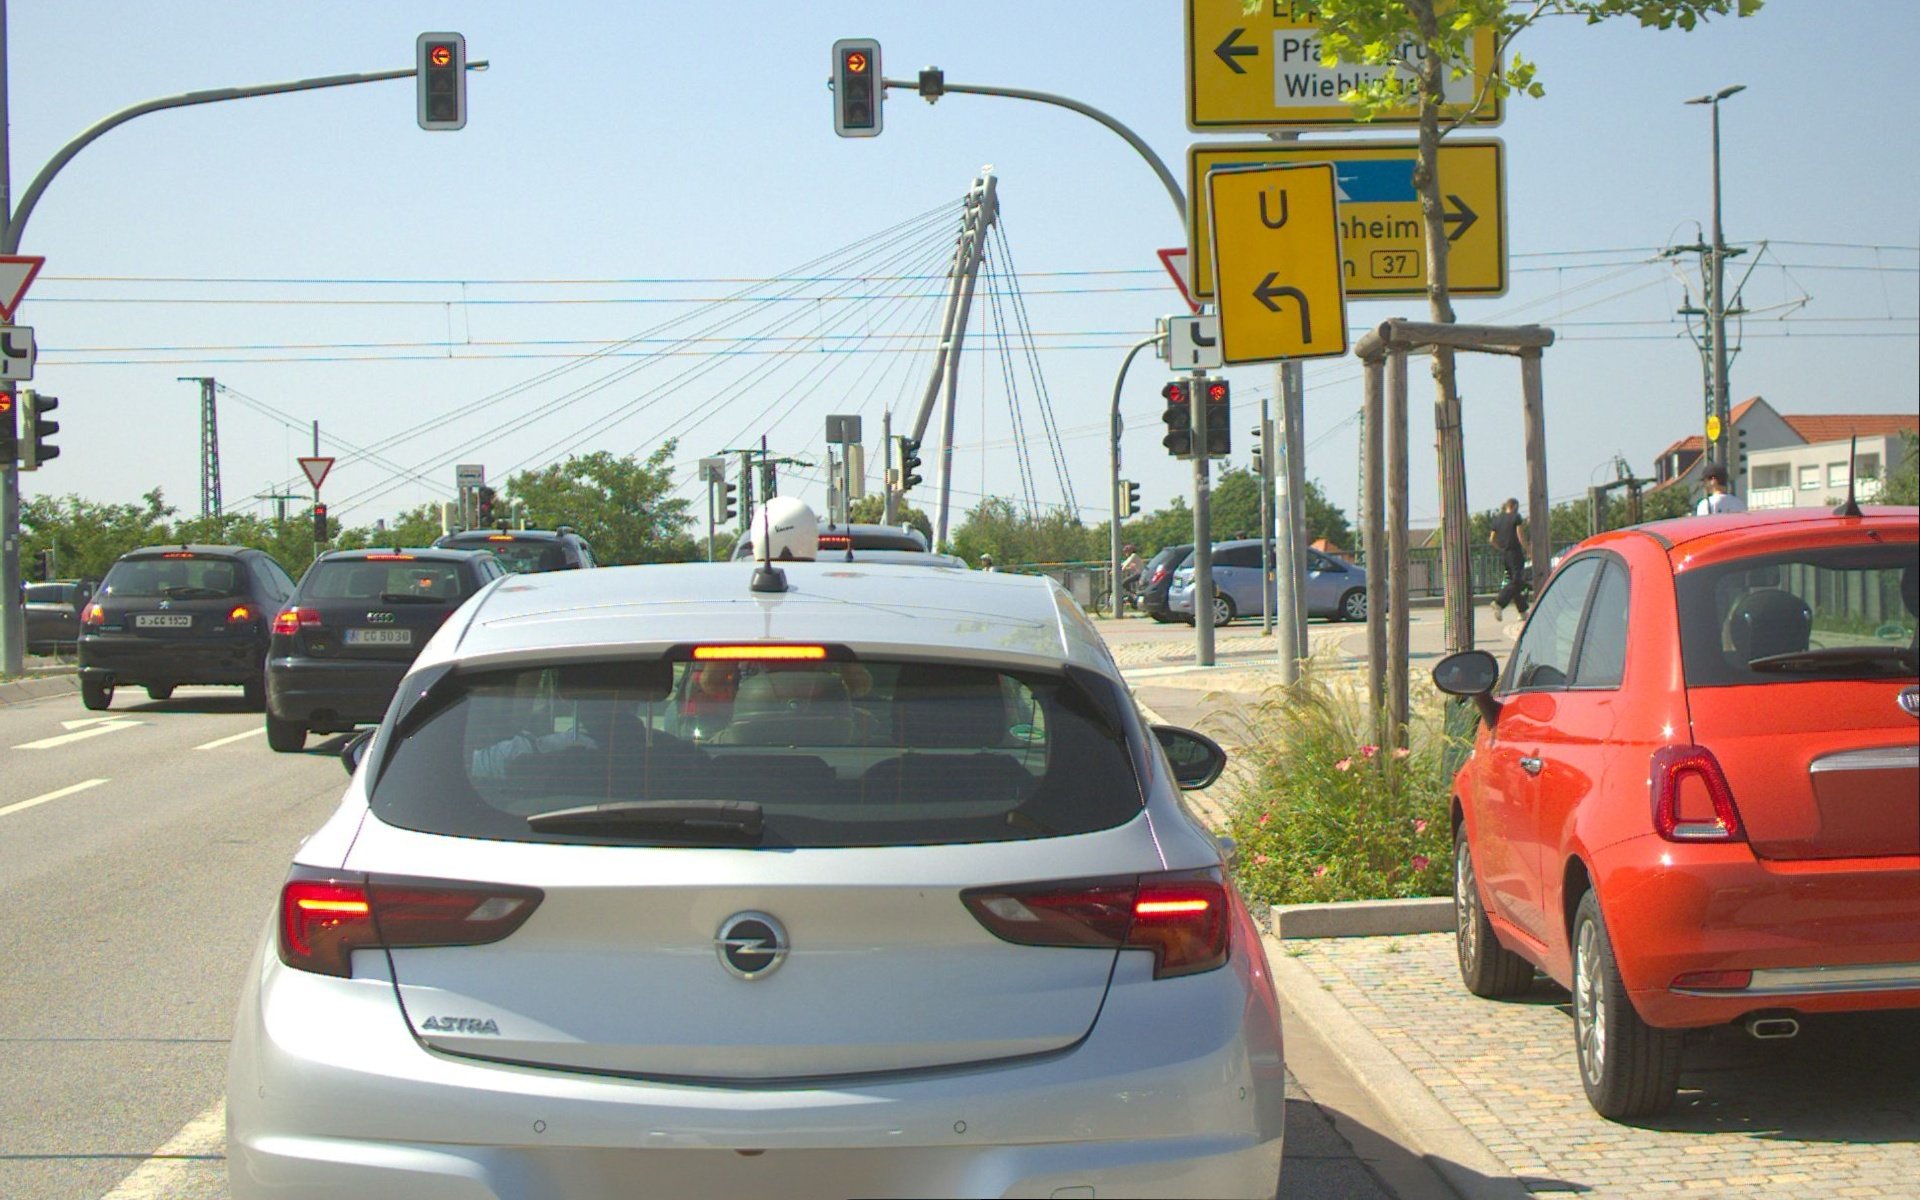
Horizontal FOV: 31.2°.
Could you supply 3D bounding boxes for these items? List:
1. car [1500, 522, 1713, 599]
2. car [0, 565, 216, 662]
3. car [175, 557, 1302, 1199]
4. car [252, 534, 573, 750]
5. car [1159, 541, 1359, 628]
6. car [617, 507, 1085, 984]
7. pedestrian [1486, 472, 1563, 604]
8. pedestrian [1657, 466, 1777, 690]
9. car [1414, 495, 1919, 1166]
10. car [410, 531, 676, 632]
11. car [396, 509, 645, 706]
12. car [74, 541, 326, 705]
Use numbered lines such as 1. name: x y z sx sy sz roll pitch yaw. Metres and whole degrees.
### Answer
1. car: 14.534 -0.870 77.324 4.244 1.668 2.001 0 0 -18
2. car: -16.246 0.234 64.851 4.205 1.735 1.715 1 0 28
3. car: -0.378 0.669 7.310 1.690 1.514 4.271 0 1 -1
4. car: -3.899 0.279 25.057 1.705 1.407 4.000 1 0 0
5. car: 5.192 -0.266 59.862 3.143 1.434 1.586 1 0 -9
6. car: -0.432 0.517 14.143 1.634 1.668 3.745 1 0 -1
7. pedestrian: 8.039 -0.874 48.958 0.740 1.857 0.754 1 0 -34
8. pedestrian: 6.309 -0.183 28.681 0.758 1.823 0.885 1 0 -1
9. car: 2.386 0.485 10.013 1.669 1.534 3.917 -2 1 2
10. car: -7.664 -0.338 63.495 4.548 1.777 2.000 1 0 5
11. car: -4.004 0.058 31.891 1.803 1.616 3.917 -3 0 -1
12. car: -6.776 0.192 30.922 1.587 1.390 3.340 0 0 -1
